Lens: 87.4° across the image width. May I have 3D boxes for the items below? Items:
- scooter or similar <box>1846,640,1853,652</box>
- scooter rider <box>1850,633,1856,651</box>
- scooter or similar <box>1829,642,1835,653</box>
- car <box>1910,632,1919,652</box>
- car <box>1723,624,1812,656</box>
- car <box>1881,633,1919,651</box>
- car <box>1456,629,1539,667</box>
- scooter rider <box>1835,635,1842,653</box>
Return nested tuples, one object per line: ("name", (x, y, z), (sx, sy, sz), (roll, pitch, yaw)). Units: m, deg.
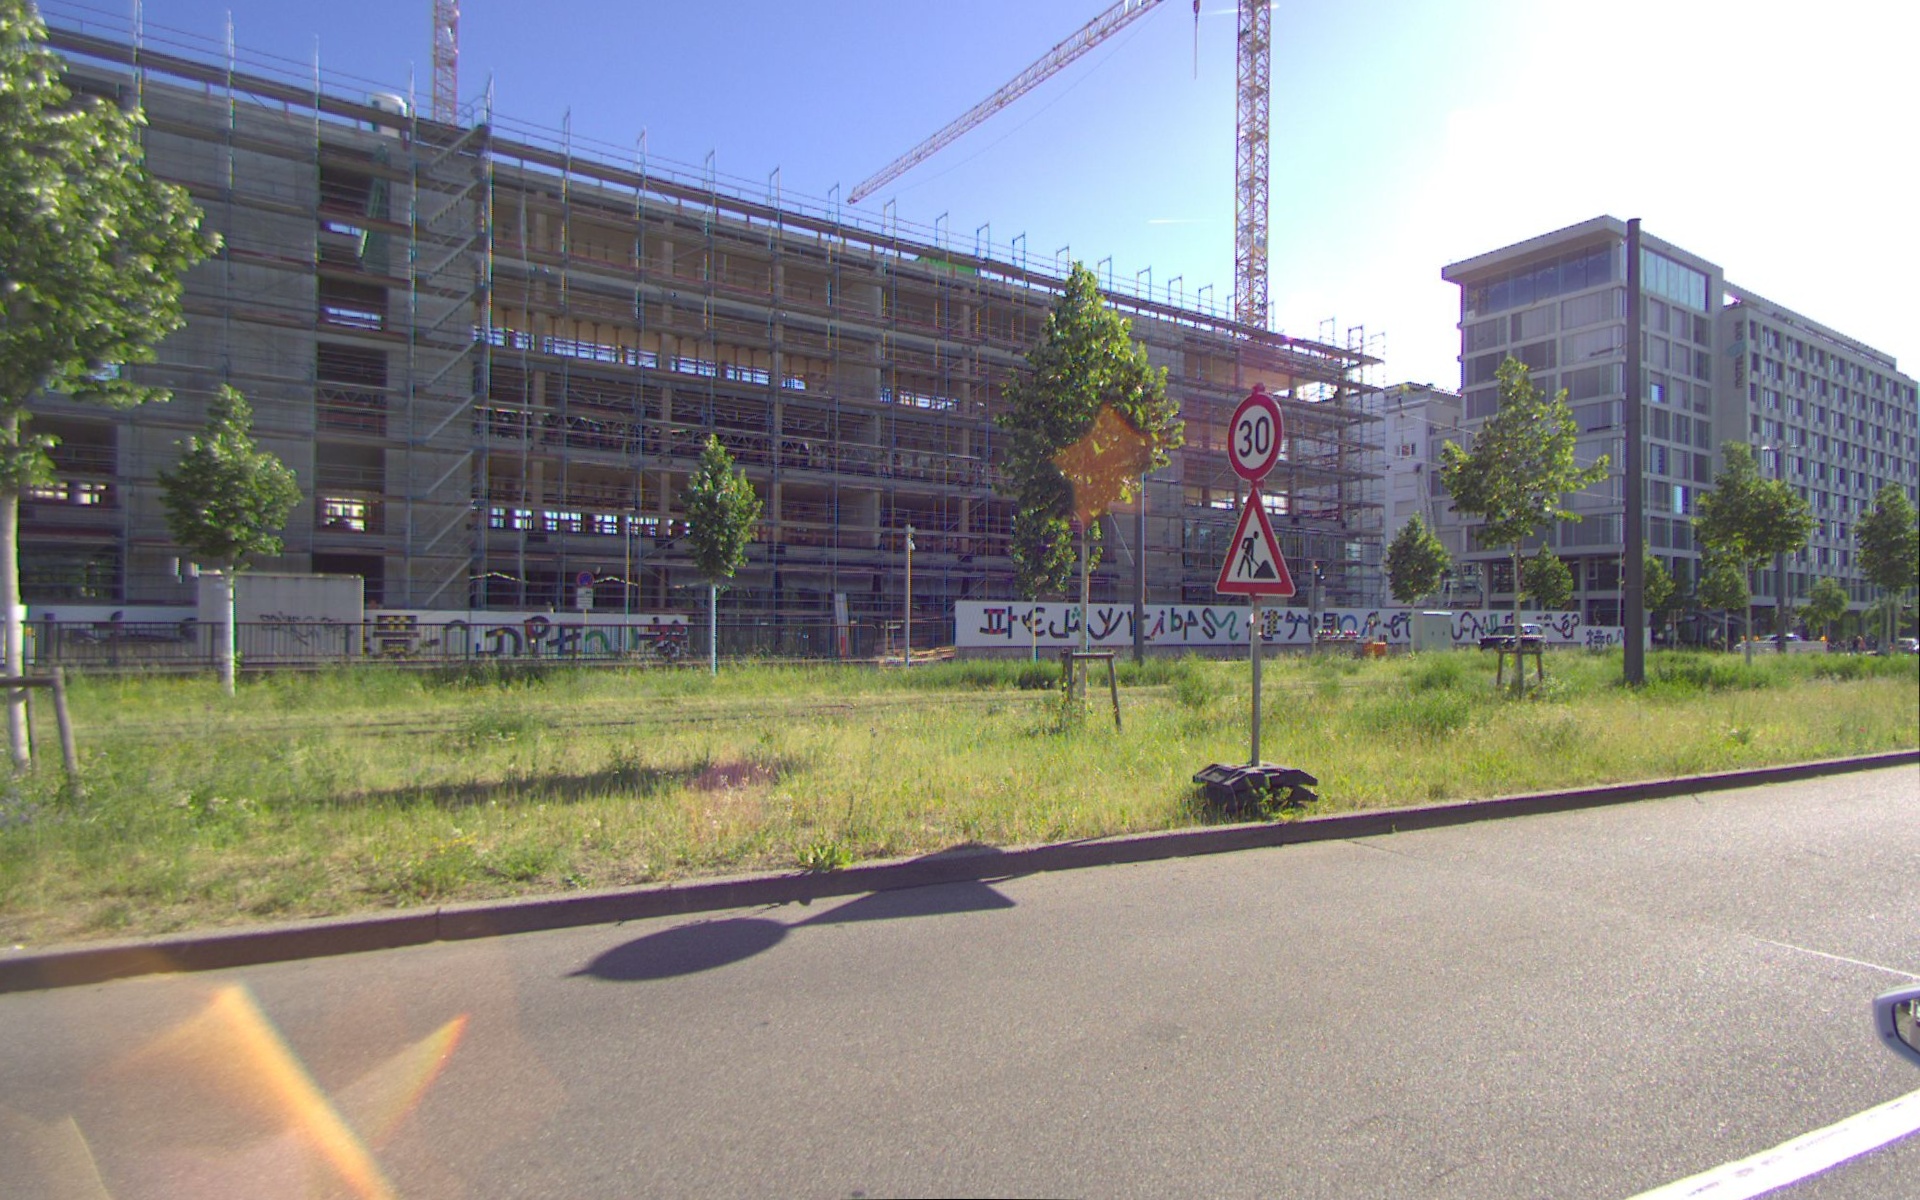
("scooter or similar", (72.494, 3.713, 81.874), (0.759, 0.960, 0.227), (1, -1, -32))
("scooter rider", (72.668, 3.439, 81.752), (0.236, 1.472, 0.340), (1, -1, -32))
("scooter or similar", (71.882, 3.917, 82.808), (0.761, 0.960, 0.283), (2, -2, -40))
("car", (80.773, 3.519, 83.470), (3.956, 1.673, 1.781), (1, -2, -32))
("car", (50.304, 2.479, 62.647), (3.905, 1.943, 1.916), (0, -1, 15))
("car", (89.425, 4.005, 95.537), (3.956, 1.673, 1.781), (1, -2, -32))
("car", (28.698, 2.552, 53.583), (4.275, 1.943, 1.901), (1, -1, -29))
("scooter rider", (72.222, 3.645, 82.587), (0.236, 1.472, 0.340), (1, -1, -32))
